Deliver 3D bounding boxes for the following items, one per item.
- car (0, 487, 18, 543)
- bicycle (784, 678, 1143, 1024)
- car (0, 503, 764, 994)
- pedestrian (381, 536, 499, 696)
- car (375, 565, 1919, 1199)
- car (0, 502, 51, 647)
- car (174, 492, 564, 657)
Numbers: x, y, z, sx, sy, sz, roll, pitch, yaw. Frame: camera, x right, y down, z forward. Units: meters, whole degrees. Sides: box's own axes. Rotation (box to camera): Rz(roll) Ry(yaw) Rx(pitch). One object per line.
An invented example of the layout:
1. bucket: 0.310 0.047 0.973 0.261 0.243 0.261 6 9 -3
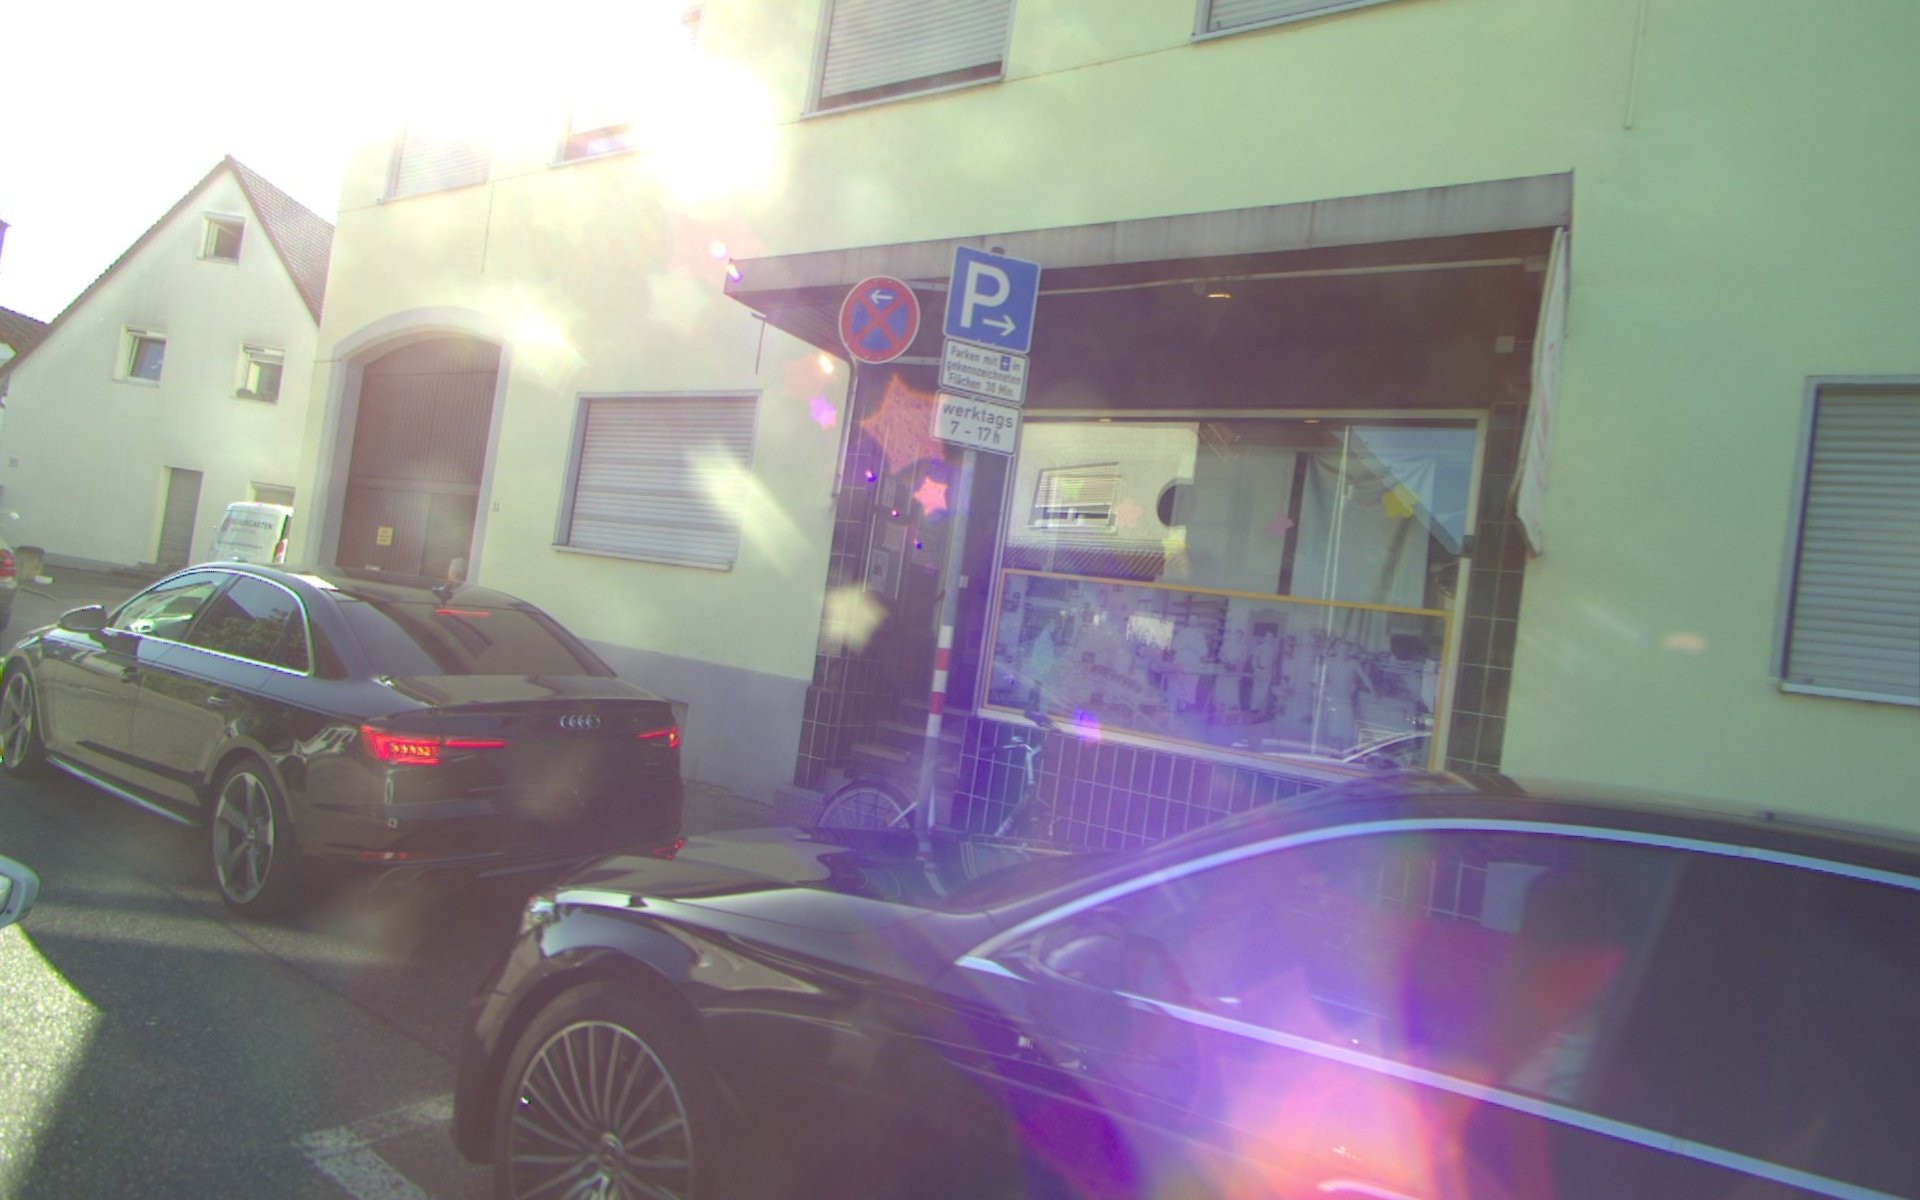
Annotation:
1. car: -31.055 -2.866 29.928 1.876 1.708 4.053 8 -2 4
2. bicycle: -0.018 1.053 4.620 1.483 1.171 0.508 7 0 33
3. car: -3.569 0.509 5.555 4.763 1.491 1.814 7 -4 32
4. pedestrian: -5.516 0.172 10.685 0.757 1.569 0.566 8 -2 28
5. car: 1.139 1.028 2.021 4.763 1.491 1.814 7 -4 32
6. car: -12.230 -0.570 11.429 4.588 1.491 1.814 7 -3 36
7. car: -8.683 -0.245 15.364 1.874 1.909 4.775 8 0 25
